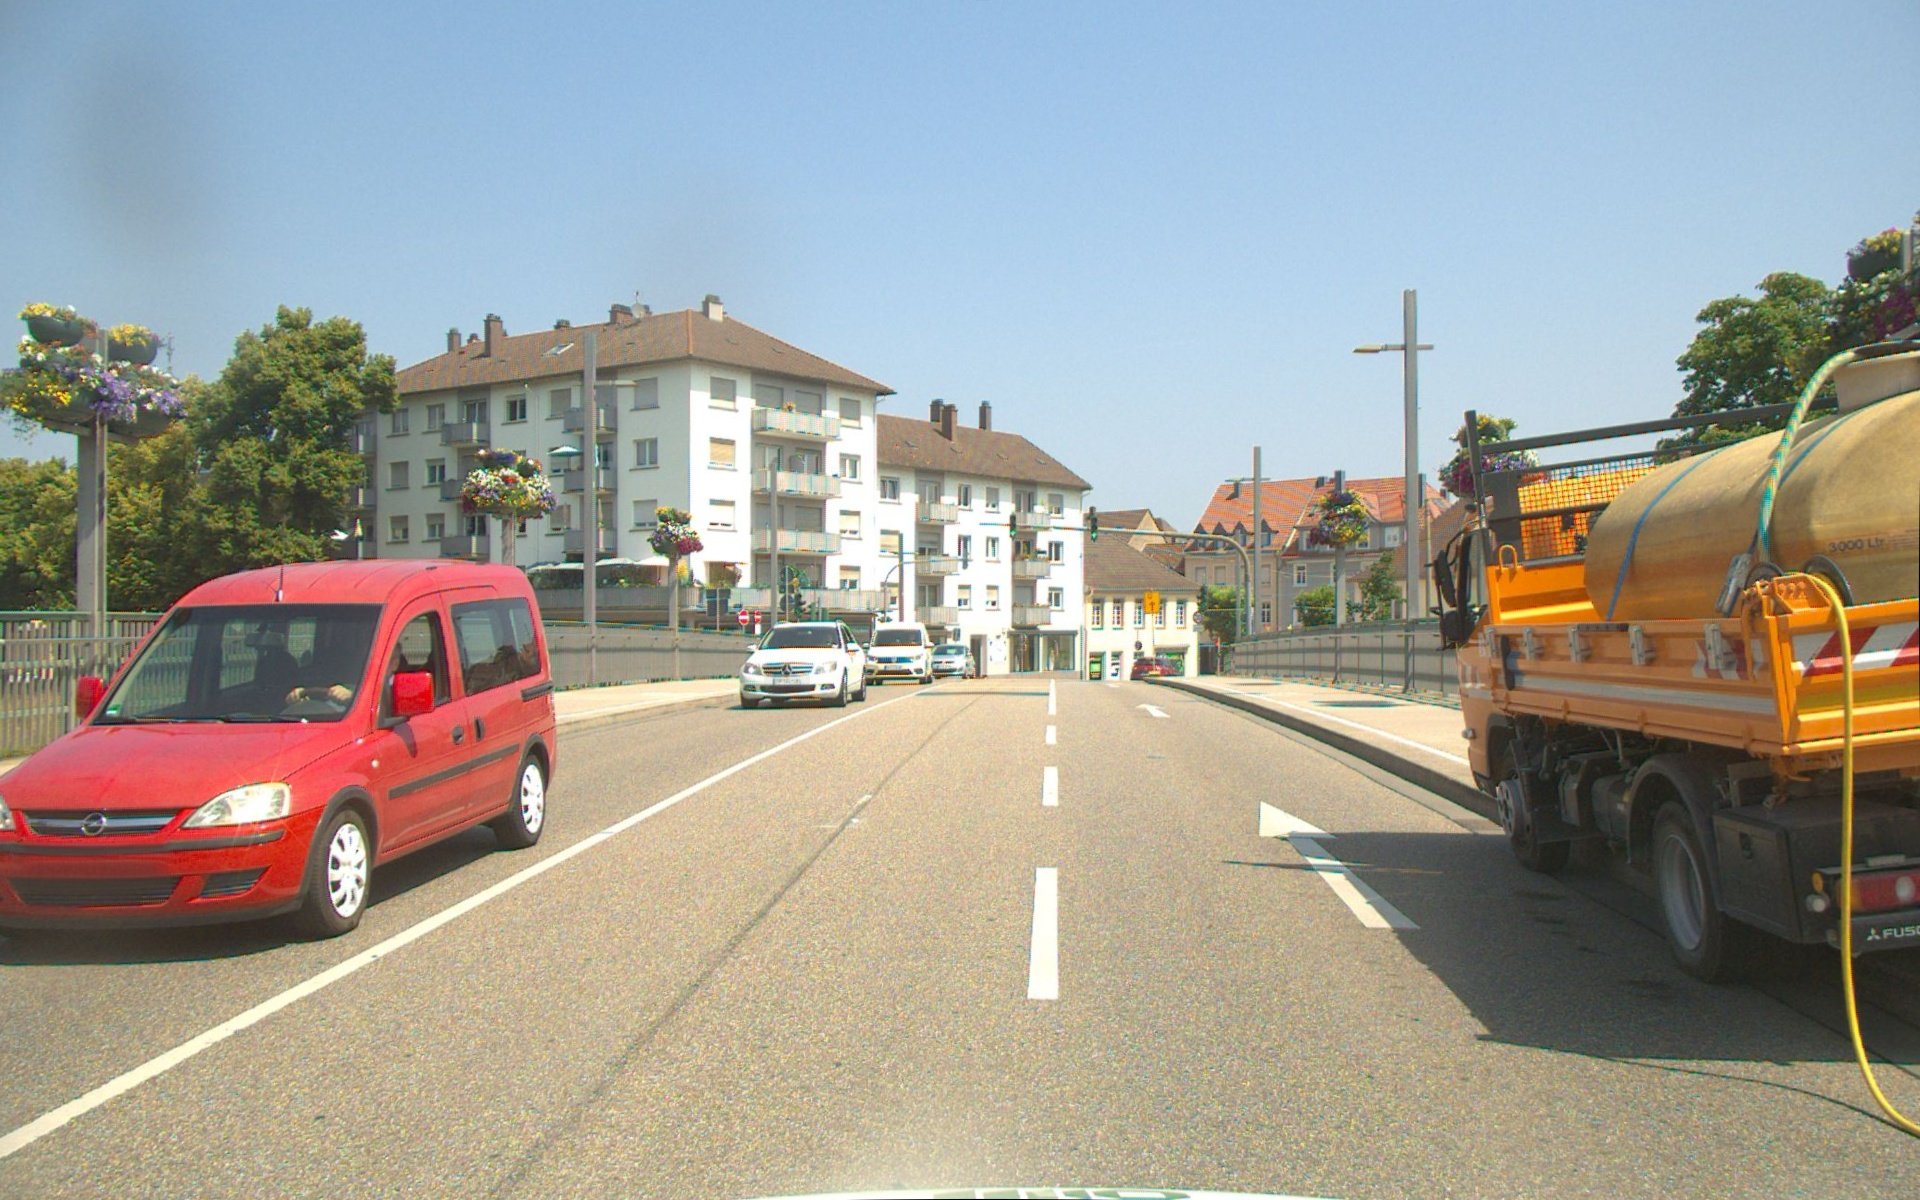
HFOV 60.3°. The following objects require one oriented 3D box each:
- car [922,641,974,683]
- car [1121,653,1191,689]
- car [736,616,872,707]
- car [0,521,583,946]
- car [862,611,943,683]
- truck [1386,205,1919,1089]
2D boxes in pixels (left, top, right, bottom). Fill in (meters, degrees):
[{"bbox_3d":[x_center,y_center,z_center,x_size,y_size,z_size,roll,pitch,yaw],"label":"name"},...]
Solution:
[{"bbox_3d":[-0.450,2.459,66.213,1.723,1.546,4.002,-2,-1,5],"label":"car"},{"bbox_3d":[9.937,3.532,83.413,1.953,1.641,4.334,-1,-1,30],"label":"car"},{"bbox_3d":[-2.647,1.082,29.085,1.806,1.457,4.714,-1,-2,1],"label":"car"},{"bbox_3d":[-3.542,0.618,9.242,1.700,1.808,4.178,-1,-1,3],"label":"car"},{"bbox_3d":[-1.608,1.387,47.988,1.722,1.890,4.648,-3,-2,5],"label":"car"},{"bbox_3d":[4.000,0.097,8.027,2.551,2.738,5.825,-3,0,3],"label":"truck"}]
